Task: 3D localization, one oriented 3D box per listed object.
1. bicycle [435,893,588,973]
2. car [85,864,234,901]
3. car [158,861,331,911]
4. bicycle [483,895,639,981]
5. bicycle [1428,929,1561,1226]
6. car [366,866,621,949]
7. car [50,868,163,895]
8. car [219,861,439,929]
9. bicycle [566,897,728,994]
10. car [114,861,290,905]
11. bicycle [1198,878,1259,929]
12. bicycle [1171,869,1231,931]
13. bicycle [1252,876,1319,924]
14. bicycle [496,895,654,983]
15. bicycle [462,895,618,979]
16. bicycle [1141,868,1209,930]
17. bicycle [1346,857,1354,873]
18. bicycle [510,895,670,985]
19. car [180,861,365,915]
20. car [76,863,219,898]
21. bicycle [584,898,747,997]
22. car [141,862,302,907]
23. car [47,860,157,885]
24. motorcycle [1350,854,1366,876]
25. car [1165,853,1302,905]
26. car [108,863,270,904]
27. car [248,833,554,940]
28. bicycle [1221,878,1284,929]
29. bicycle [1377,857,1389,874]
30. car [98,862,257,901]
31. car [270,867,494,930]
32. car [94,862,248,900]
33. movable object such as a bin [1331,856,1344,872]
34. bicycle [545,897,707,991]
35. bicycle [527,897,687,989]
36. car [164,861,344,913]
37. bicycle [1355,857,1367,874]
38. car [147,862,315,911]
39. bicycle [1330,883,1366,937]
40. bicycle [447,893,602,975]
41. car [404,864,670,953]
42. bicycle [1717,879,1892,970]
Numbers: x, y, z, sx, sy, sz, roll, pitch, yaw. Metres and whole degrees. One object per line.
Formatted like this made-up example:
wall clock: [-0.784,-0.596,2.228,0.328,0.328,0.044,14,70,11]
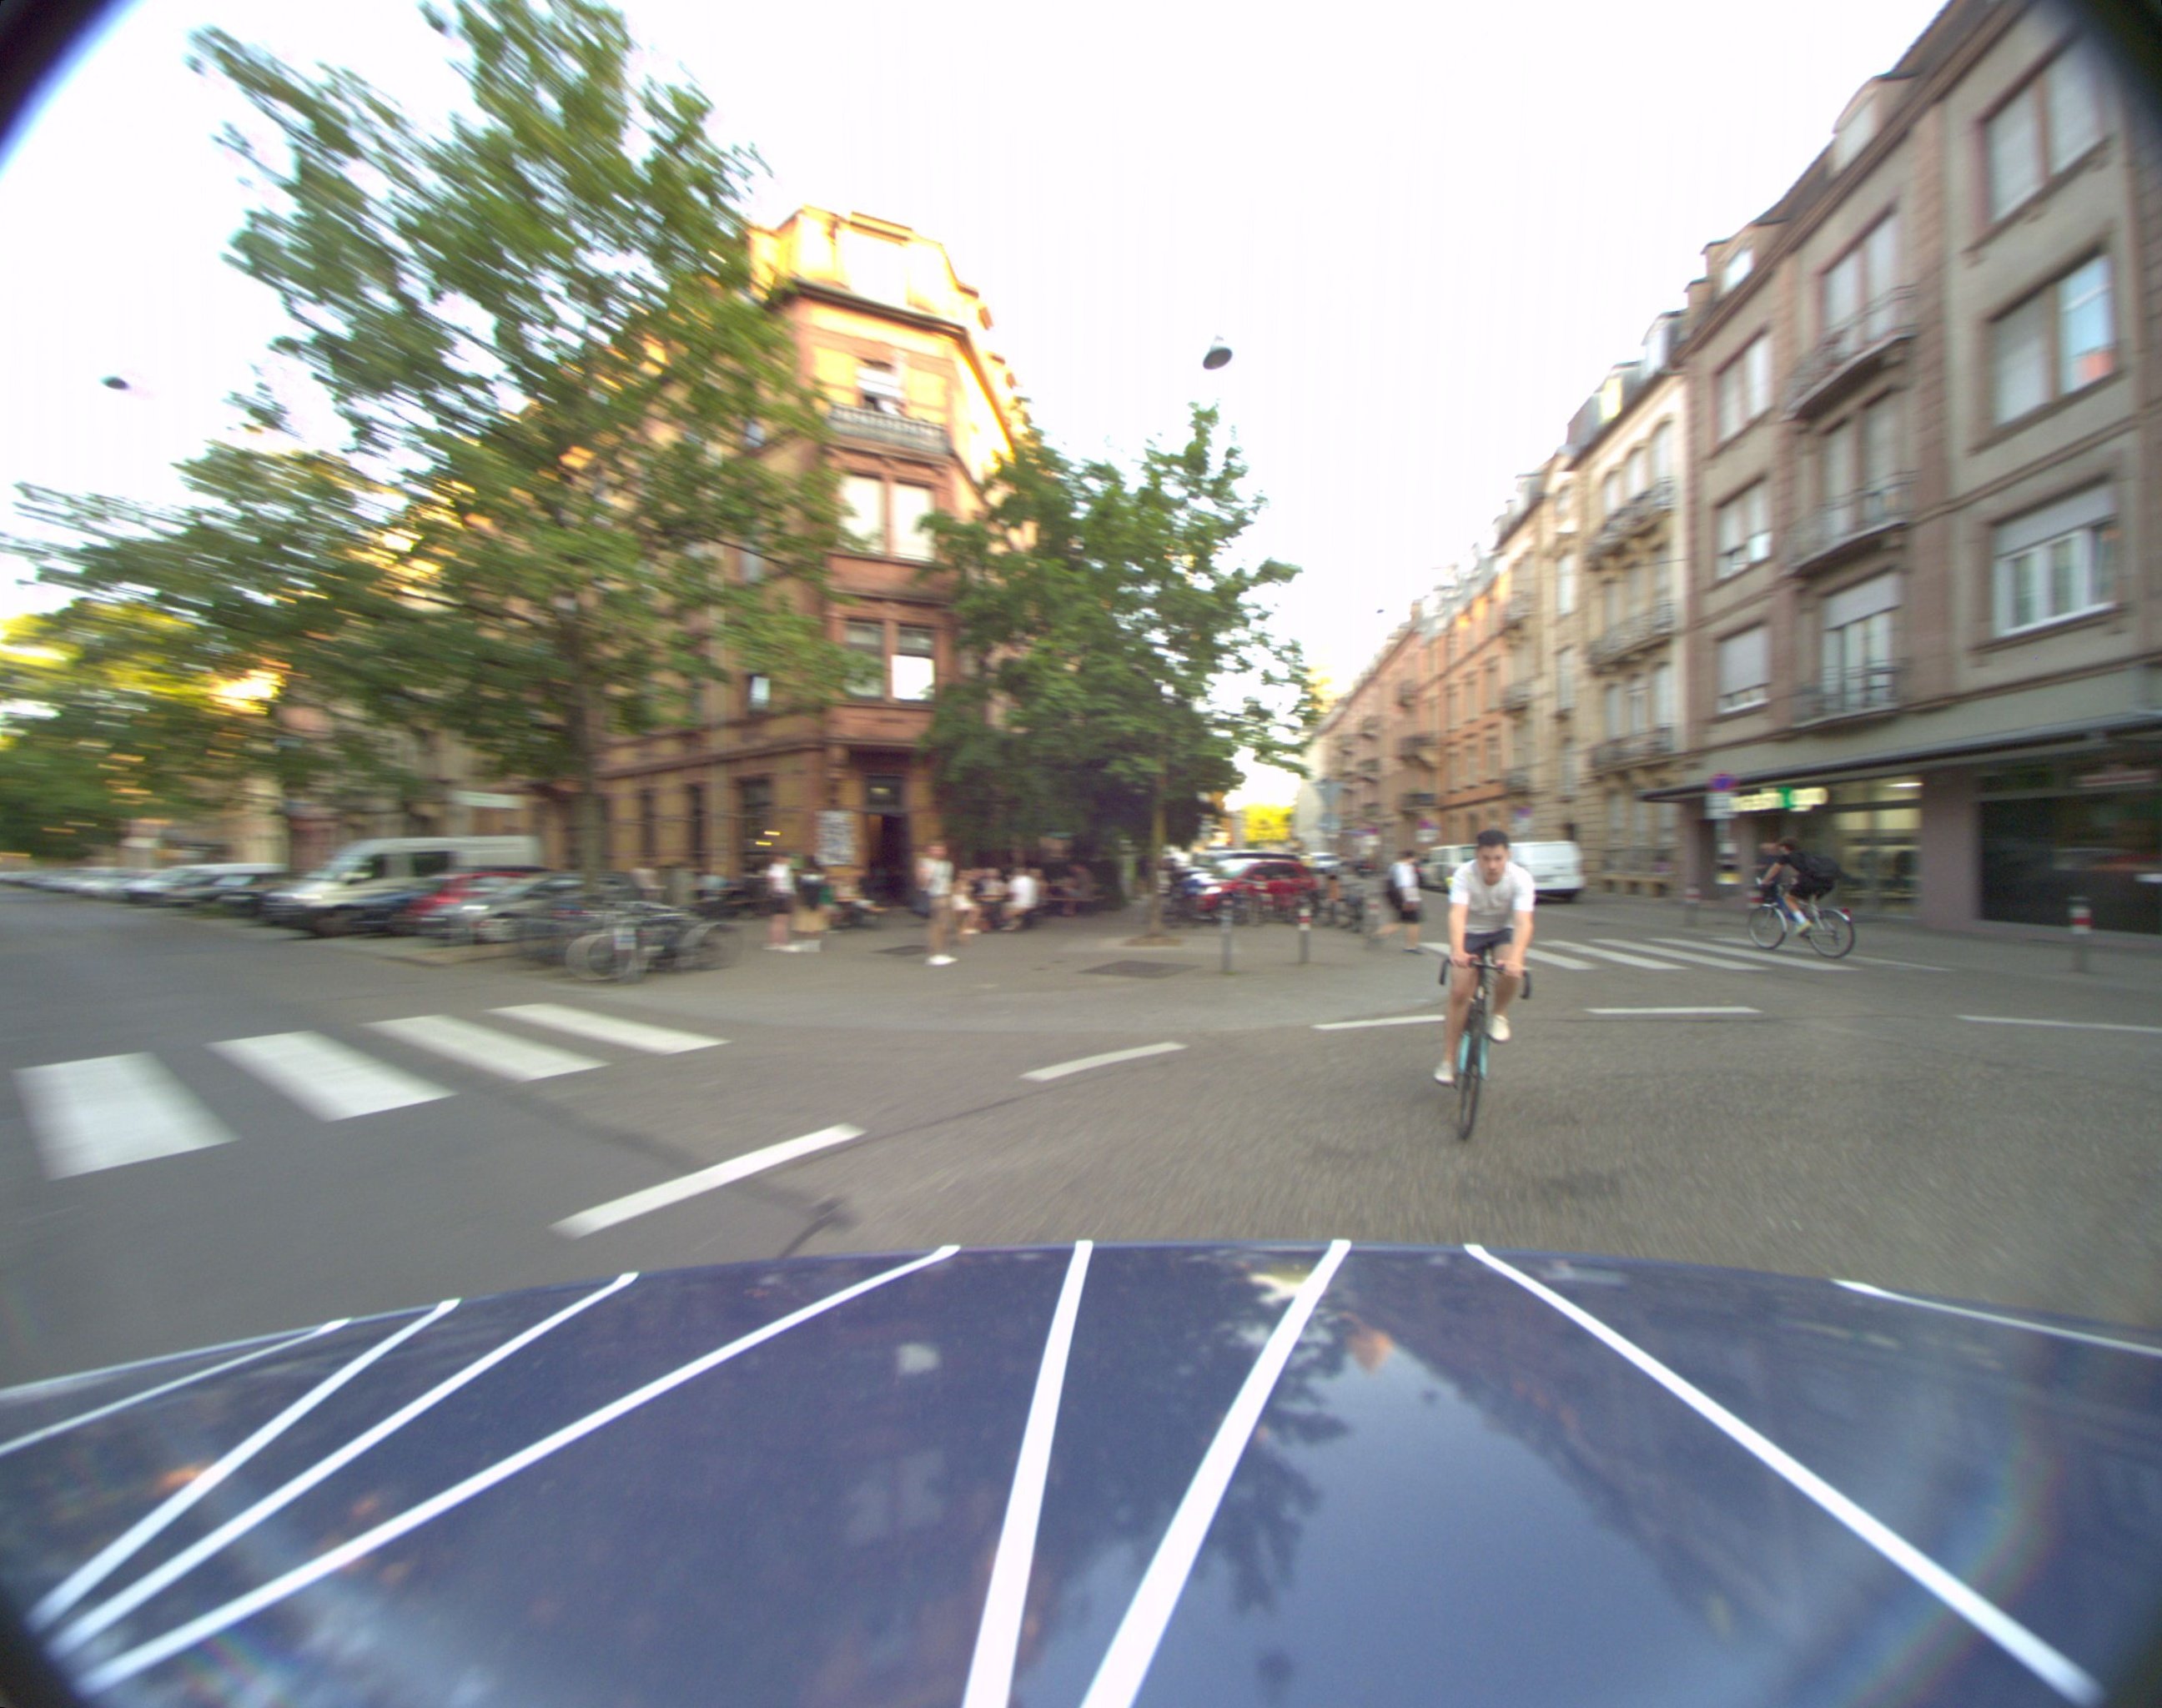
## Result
bicycle: [-9.649,1.298,12.980,0.434,1.127,2.039,-2,1,31]
car: [-52.701,1.578,43.594,1.995,1.774,5.208,-2,1,33]
car: [-34.802,1.288,31.762,1.995,1.774,4.553,-2,1,33]
bicycle: [-8.303,1.294,12.242,0.434,1.127,2.039,-2,1,31]
bicycle: [2.385,1.110,4.361,0.519,1.148,1.786,-2,1,30]
car: [-13.558,1.146,17.796,1.905,1.517,4.301,-2,1,35]
car: [-75.910,2.101,59.289,1.995,1.774,5.208,-2,1,33]
car: [-23.455,1.206,23.903,1.995,1.774,4.553,-2,1,33]
bicycle: [-6.202,1.267,11.000,0.434,1.127,2.039,-2,1,31]
car: [-41.870,1.349,36.359,1.995,1.774,5.208,-2,1,33]
bicycle: [3.384,1.117,17.615,0.599,1.057,1.766,1,0,-17]
bicycle: [2.691,0.998,17.244,0.599,1.281,1.766,-2,1,-17]
bicycle: [5.057,1.134,18.804,1.552,1.154,0.365,0,1,-5]
bicycle: [-7.899,1.285,11.981,0.434,1.127,2.039,-2,1,31]
bicycle: [-8.808,1.314,12.472,0.434,1.127,2.039,-2,1,31]
bicycle: [2.037,0.952,16.709,0.600,1.280,1.719,-1,0,-27]
bicycle: [21.061,0.834,59.556,0.466,1.148,2.002,-2,1,16]
bicycle: [-7.493,1.271,11.723,0.434,1.127,2.039,-2,1,31]
car: [-31.055,1.256,29.355,1.995,1.774,4.553,-2,1,33]
car: [-56.423,1.579,46.040,1.995,1.774,5.208,-2,1,33]
bicycle: [-5.782,1.253,10.730,0.434,1.127,2.039,-2,1,31]
car: [-39.119,1.351,34.705,1.995,1.774,4.553,-2,1,33]
car: [-78.318,1.452,60.886,1.995,1.774,5.208,-2,1,33]
motorcycle: [18.573,0.701,50.956,0.686,1.397,2.016,-2,1,12]
car: [5.210,0.858,26.002,4.230,1.613,1.929,2,0,-24]
car: [-46.091,1.477,39.411,1.995,1.774,5.208,-2,1,33]
car: [-17.716,0.704,20.192,2.240,2.407,5.552,-2,1,32]
bicycle: [3.992,1.134,17.800,0.599,1.057,1.766,-2,1,-17]
bicycle: [21.756,0.794,54.748,0.412,1.153,1.839,-2,1,10]
car: [-48.359,1.455,40.814,1.995,1.774,5.208,-2,1,33]
car: [-20.866,1.250,22.899,1.995,1.517,4.553,-2,1,33]
car: [-50.297,1.447,42.135,1.995,1.774,5.208,-2,1,33]
movable object such as a bin: [21.131,0.800,62.603,0.889,1.244,0.777,-2,1,10]
bicycle: [-6.658,1.275,11.255,0.434,1.127,2.039,-2,1,31]
bicycle: [-7.084,1.290,11.494,0.434,1.127,2.039,-2,1,31]
car: [-32.993,1.275,30.460,1.995,1.774,4.553,-2,1,33]
bicycle: [20.364,0.843,55.284,0.412,1.153,1.839,-2,1,10]
car: [-36.704,1.352,32.942,1.995,1.774,4.553,-2,1,33]
bicycle: [5.860,1.203,16.739,0.365,1.057,1.553,-2,1,6]
bicycle: [-9.244,1.290,12.731,0.434,1.127,2.039,-2,1,31]
car: [-11.712,1.084,16.662,1.905,1.517,4.301,-2,1,35]
bicycle: [10.947,1.017,11.611,0.840,1.164,1.936,-2,1,2]
